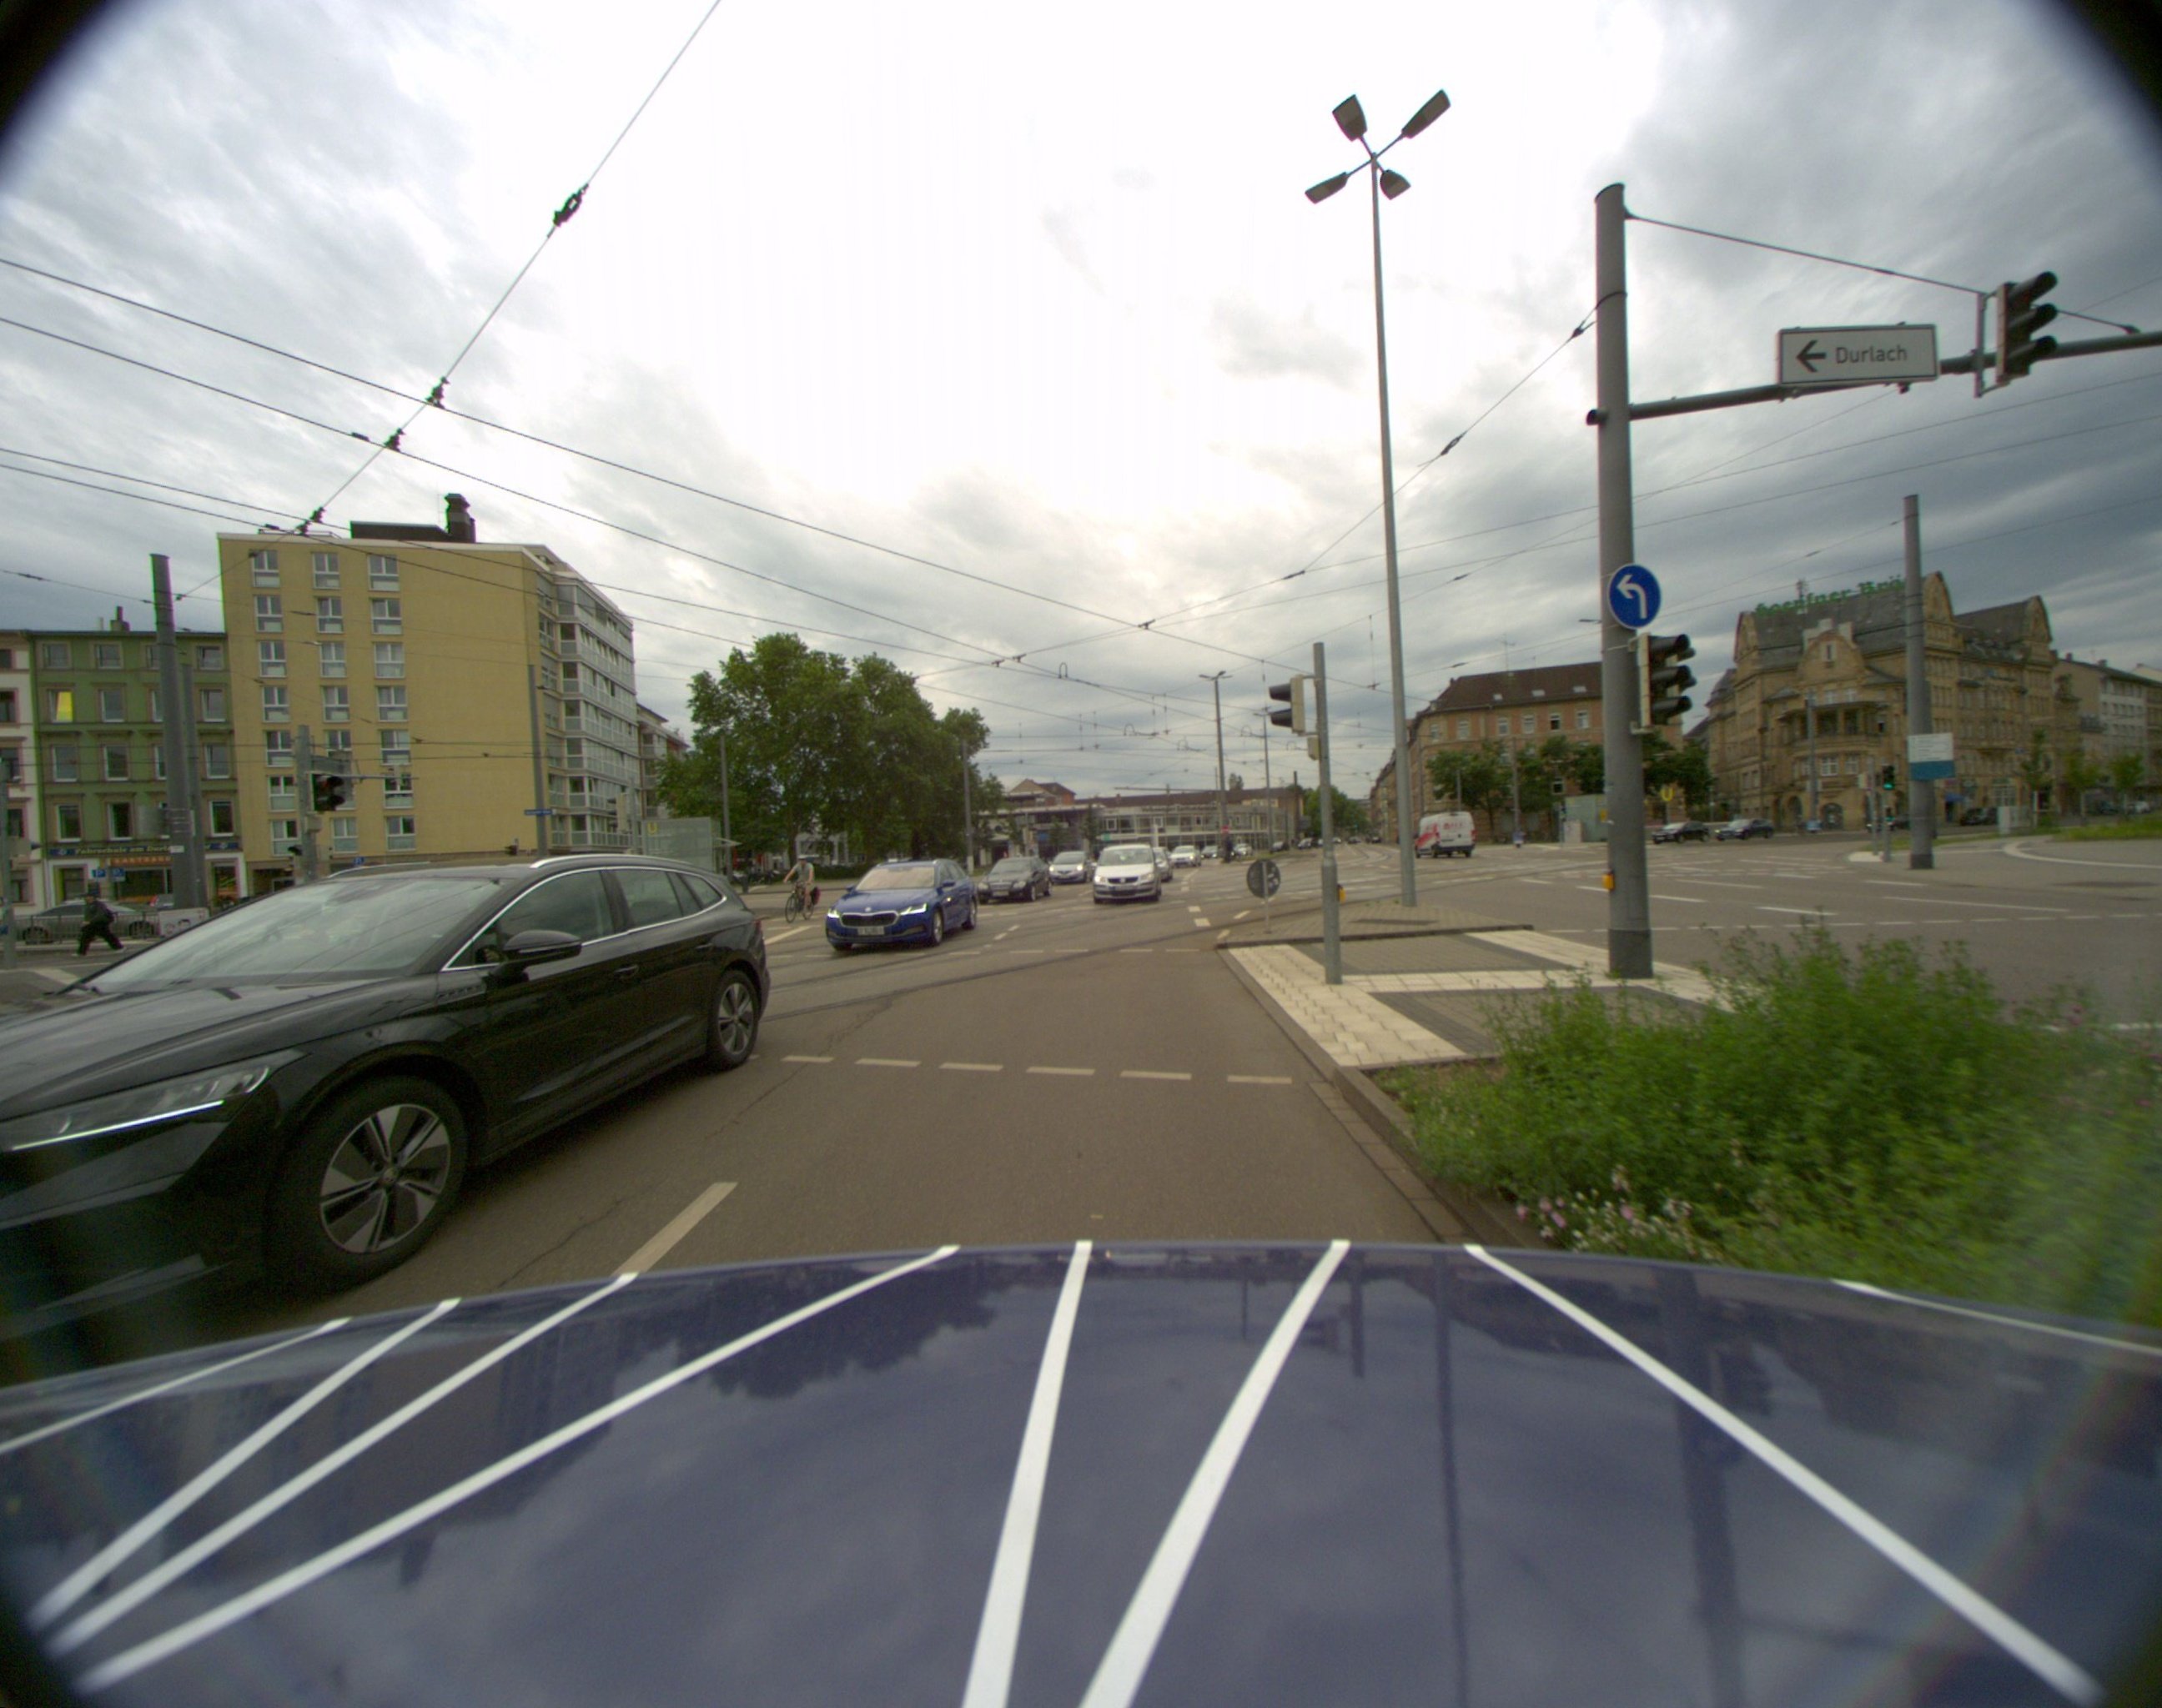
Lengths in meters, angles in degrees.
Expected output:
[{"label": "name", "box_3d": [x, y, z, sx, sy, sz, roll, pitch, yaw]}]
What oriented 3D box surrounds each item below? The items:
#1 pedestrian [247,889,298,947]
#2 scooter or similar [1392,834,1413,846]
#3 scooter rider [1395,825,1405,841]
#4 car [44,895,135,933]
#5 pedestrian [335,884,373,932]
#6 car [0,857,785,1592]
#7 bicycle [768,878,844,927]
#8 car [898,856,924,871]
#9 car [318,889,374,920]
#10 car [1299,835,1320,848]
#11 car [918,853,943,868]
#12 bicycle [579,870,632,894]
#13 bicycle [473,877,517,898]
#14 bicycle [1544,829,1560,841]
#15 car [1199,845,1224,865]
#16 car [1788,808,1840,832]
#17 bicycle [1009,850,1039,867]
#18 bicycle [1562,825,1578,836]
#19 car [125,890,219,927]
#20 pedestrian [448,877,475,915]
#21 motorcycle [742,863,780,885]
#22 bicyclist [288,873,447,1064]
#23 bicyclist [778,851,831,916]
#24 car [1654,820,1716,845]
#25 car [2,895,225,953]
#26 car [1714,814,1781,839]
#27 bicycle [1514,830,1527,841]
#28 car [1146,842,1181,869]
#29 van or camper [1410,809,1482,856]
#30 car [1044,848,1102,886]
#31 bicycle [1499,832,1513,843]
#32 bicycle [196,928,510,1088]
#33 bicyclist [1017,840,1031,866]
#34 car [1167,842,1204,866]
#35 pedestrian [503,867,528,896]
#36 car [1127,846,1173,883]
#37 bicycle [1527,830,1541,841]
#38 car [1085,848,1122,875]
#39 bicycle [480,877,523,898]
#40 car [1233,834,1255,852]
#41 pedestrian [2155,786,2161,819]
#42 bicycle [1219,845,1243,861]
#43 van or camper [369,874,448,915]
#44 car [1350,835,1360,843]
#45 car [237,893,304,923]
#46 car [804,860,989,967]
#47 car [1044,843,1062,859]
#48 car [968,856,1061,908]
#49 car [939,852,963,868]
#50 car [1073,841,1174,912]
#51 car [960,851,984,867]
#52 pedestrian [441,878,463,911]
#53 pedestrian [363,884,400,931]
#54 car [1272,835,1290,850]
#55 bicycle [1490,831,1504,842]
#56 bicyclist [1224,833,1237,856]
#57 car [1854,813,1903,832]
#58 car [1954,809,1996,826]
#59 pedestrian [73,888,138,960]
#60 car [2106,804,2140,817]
[{"label": "pedestrian", "box_3d": [-24.411, 1.901, 22.962, 0.786, 1.634, 0.902, -4, 2, -35]}, {"label": "scooter or similar", "box_3d": [33.419, -1.444, 78.984, 1.904, 1.158, 0.574, -3, 1, 6]}, {"label": "scooter rider", "box_3d": [33.136, -2.182, 78.950, 0.821, 1.618, 0.569, -3, 1, 7]}, {"label": "car", "box_3d": [-47.414, 2.850, 36.331, 3.729, 1.578, 1.738, -3, 1, 24]}, {"label": "pedestrian", "box_3d": [-26.059, 1.918, 27.246, 0.770, 1.602, 0.949, -4, 2, -35]}, {"label": "car", "box_3d": [-3.496, 0.931, 4.026, 1.908, 1.649, 4.514, -3, 1, 1]}, {"label": "bicycle", "box_3d": [-7.231, 1.265, 20.092, 0.762, 1.072, 2.018, -4, 1, 16]}, {"label": "car", "box_3d": [-23.108, 1.263, 103.570, 1.955, 1.505, 4.227, -3, 7, 8]}, {"label": "car", "box_3d": [-38.657, 2.626, 39.935, 3.728, 1.409, 1.739, -2, 2, 41]}, {"label": "car", "box_3d": [34.936, -1.967, 116.034, 2.369, 1.745, 5.136, -3, 1, 23]}, {"label": "car", "box_3d": [-20.409, 0.833, 103.297, 1.955, 1.459, 4.227, -3, 6, 8]}, {"label": "bicycle", "box_3d": [-31.324, 1.830, 50.078, 2.784, 1.369, 0.903, -3, 1, -10]}, {"label": "bicycle", "box_3d": [-36.727, 2.120, 47.671, 2.041, 1.162, 0.669, -3, 1, -15]}, {"label": "bicycle", "box_3d": [46.578, -1.887, 75.161, 0.753, 1.024, 2.399, -3, 1, 20]}, {"label": "car", "box_3d": [13.871, 0.083, 80.706, 1.996, 2.002, 4.004, -3, 1, 18]}, {"label": "car", "box_3d": [62.019, -2.887, 64.283, 4.006, 1.750, 1.829, -4, 2, -24]}, {"label": "bicycle", "box_3d": [-3.959, 0.315, 52.542, 1.992, 0.992, 0.579, -6, 0, -8]}, {"label": "bicycle", "box_3d": [48.126, -2.304, 74.840, 0.753, 1.024, 2.399, -2, 1, 20]}, {"label": "car", "box_3d": [-44.374, 2.645, 37.112, 3.729, 1.573, 1.894, -3, 1, 24]}, {"label": "pedestrian", "box_3d": [-29.464, 1.977, 36.153, 0.789, 1.747, 1.046, -3, 2, -34]}, {"label": "motorcycle", "box_3d": [-21.640, 1.347, 51.427, 2.295, 1.358, 1.045, -3, 1, -21]}, {"label": "bicyclist", "box_3d": [-6.751, 1.047, 7.225, 0.616, 1.680, 0.806, -3, 1, 11]}, {"label": "bicyclist", "box_3d": [-7.279, 0.775, 20.047, 0.790, 1.609, 0.934, -4, 1, 15]}, {"label": "car", "box_3d": [45.269, -1.596, 56.977, 4.250, 1.602, 1.996, -4, 1, -26]}, {"label": "car", "box_3d": [-33.015, 2.342, 26.075, 4.445, 1.477, 1.998, -3, 1, -10]}, {"label": "car", "box_3d": [51.749, -2.133, 58.983, 4.930, 1.704, 2.158, -3, 1, -26]}, {"label": "bicycle", "box_3d": [44.211, -1.869, 76.413, 0.753, 1.025, 2.399, -1, 2, 20]}, {"label": "car", "box_3d": [6.676, 0.106, 61.333, 1.996, 2.002, 4.004, -3, 1, 18]}, {"label": "van or camper", "box_3d": [21.324, -1.235, 44.635, 2.283, 2.513, 5.576, -2, 1, 9]}, {"label": "car", "box_3d": [-0.327, 0.557, 35.617, 1.707, 1.475, 3.936, -4, 1, 13]}, {"label": "bicycle", "box_3d": [42.982, -1.689, 76.844, 0.753, 1.024, 2.399, -2, 1, 20]}, {"label": "bicycle", "box_3d": [-6.730, 1.362, 7.239, 0.626, 1.049, 2.127, -3, 1, 11]}, {"label": "bicyclist", "box_3d": [-3.933, -0.058, 52.565, 0.734, 1.740, 0.586, -5, -2, -8]}, {"label": "car", "box_3d": [7.102, -0.033, 51.308, 1.970, 1.447, 4.197, -3, 1, 15]}, {"label": "pedestrian", "box_3d": [-35.207, 1.683, 47.290, 0.907, 1.727, 0.812, -3, 1, -12]}, {"label": "car", "box_3d": [3.026, 0.404, 33.414, 1.809, 1.398, 3.983, -3, 1, 5]}, {"label": "bicycle", "box_3d": [45.190, -1.870, 75.788, 0.753, 1.024, 2.399, -3, 1, 20]}, {"label": "car", "box_3d": [1.533, 0.473, 49.627, 1.997, 1.499, 4.001, -3, 1, 7]}, {"label": "bicycle", "box_3d": [-36.869, 2.121, 48.352, 2.041, 1.162, 0.669, -3, 1, -15]}, {"label": "car", "box_3d": [19.863, -1.341, 92.311, 1.996, 2.002, 4.005, -3, 1, 21]}, {"label": "pedestrian", "box_3d": [59.473, -2.846, 41.537, 0.851, 1.822, 0.808, -4, 2, -32]}, {"label": "bicycle", "box_3d": [10.855, -0.082, 55.047, 1.615, 1.064, 0.527, -3, 2, -19]}, {"label": "van or camper", "box_3d": [-35.881, 2.130, 40.477, 5.451, 1.967, 2.176, -2, 1, 39]}, {"label": "car", "box_3d": [58.672, -3.257, 162.684, 1.886, 1.462, 4.469, -3, 1, 18]}, {"label": "car", "box_3d": [-40.683, 2.678, 38.104, 3.728, 1.296, 1.683, -2, 2, 35]}, {"label": "car", "box_3d": [-3.103, 0.933, 13.915, 1.769, 1.428, 4.758, -3, 1, 5]}, {"label": "car", "box_3d": [-3.712, -0.384, 101.049, 1.955, 1.635, 4.671, -3, 5, 2]}, {"label": "car", "box_3d": [-2.043, 0.845, 24.669, 1.768, 1.362, 4.425, -2, 1, 11]}, {"label": "car", "box_3d": [-17.578, 0.793, 102.848, 1.955, 1.589, 4.227, -3, 7, 8]}, {"label": "car", "box_3d": [1.347, 0.534, 21.385, 1.861, 1.609, 5.066, -4, 1, 13]}, {"label": "car", "box_3d": [-14.736, 0.598, 102.777, 1.955, 1.450, 4.226, -3, 8, 8]}, {"label": "pedestrian", "box_3d": [-33.802, 2.154, 40.836, 0.822, 1.705, 0.618, -1, 2, 35]}, {"label": "pedestrian", "box_3d": [-25.390, 1.915, 27.591, 0.786, 1.593, 0.894, -4, 2, -35]}, {"label": "car", "box_3d": [27.920, -1.639, 106.056, 1.996, 2.002, 4.005, -3, 1, 21]}, {"label": "bicycle", "box_3d": [42.195, -1.788, 77.113, 0.835, 1.024, 2.399, -3, 1, 20]}, {"label": "bicyclist", "box_3d": [10.818, -0.690, 55.029, 0.655, 1.630, 0.517, -4, 2, -19]}, {"label": "car", "box_3d": [69.704, -2.748, 66.387, 4.006, 1.457, 1.829, -4, 1, -26]}, {"label": "car", "box_3d": [89.599, -3.660, 76.131, 4.006, 1.457, 1.829, -4, 1, -26]}, {"label": "pedestrian", "box_3d": [-27.464, 1.955, 21.404, 0.786, 1.901, 0.902, -4, 2, -35]}, {"label": "car", "box_3d": [128.655, -5.376, 93.822, 4.006, 1.457, 1.829, -4, 1, -26]}]
